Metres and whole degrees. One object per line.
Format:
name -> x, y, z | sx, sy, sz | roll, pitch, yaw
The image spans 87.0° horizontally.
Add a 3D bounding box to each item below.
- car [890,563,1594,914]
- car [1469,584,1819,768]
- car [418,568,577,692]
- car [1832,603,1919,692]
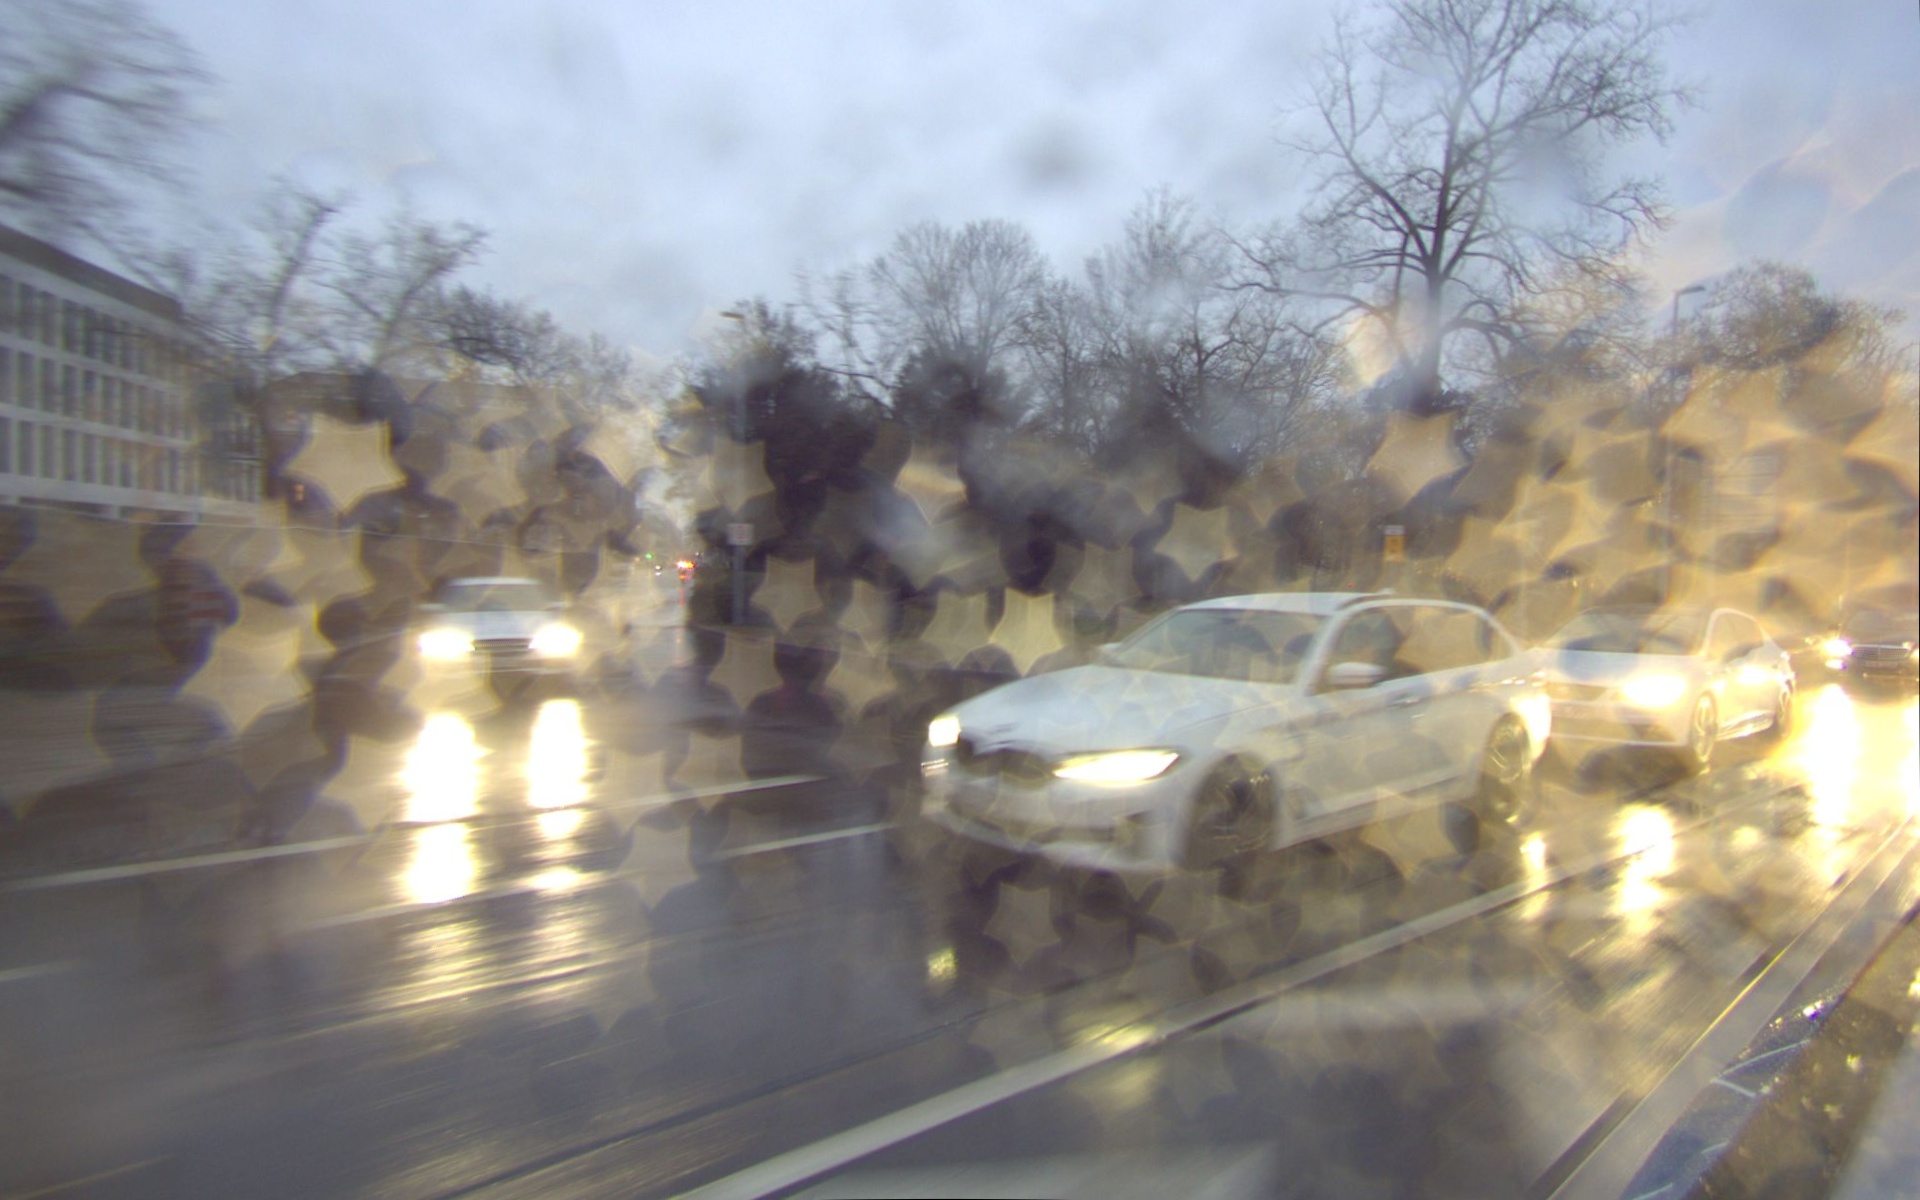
car -> 2.077, 0.561, 6.554 | 4.875, 1.520, 1.792 | -1, 1, -37
car -> 7.073, 0.607, 10.346 | 3.966, 1.479, 1.779 | -1, 2, -37
car -> -6.861, 0.310, 15.030 | 1.843, 1.507, 4.526 | 0, 2, -25
car -> 18.882, 0.879, 20.038 | 4.007, 1.517, 1.879 | -1, 2, -41
